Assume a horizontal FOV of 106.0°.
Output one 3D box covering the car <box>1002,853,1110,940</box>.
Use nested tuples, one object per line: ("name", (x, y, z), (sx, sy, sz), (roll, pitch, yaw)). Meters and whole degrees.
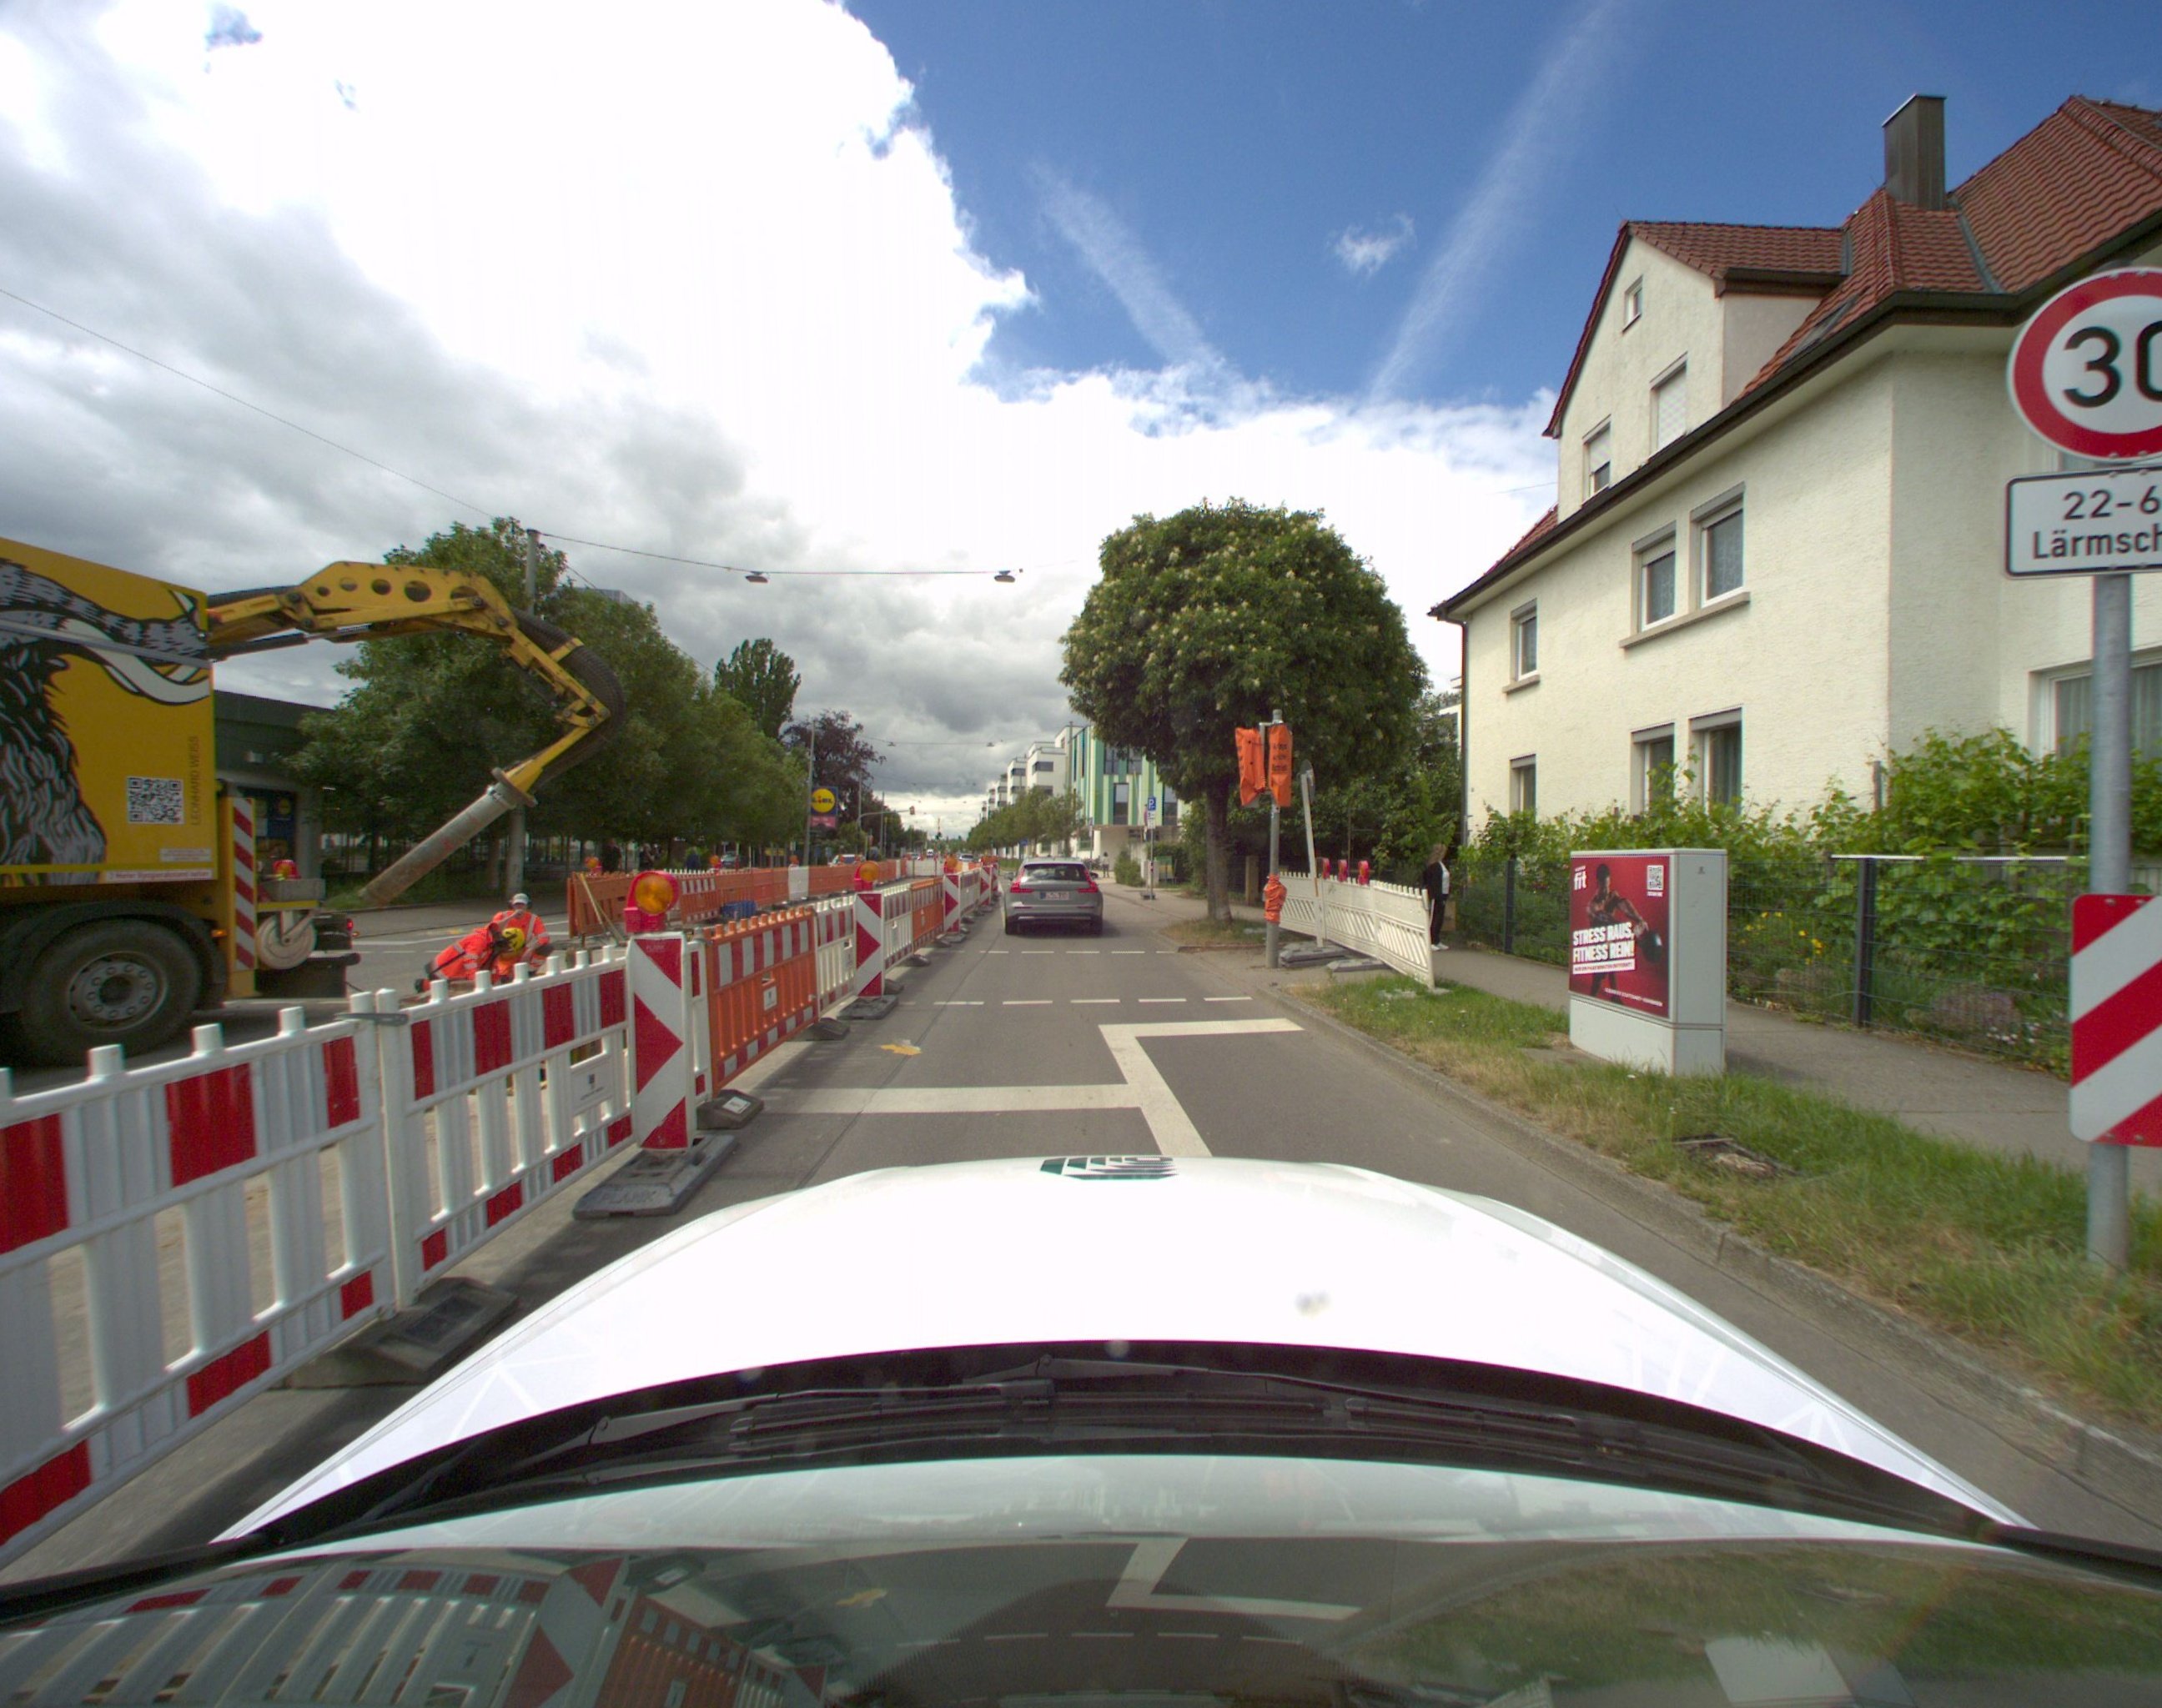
("car", (-0.638, 0.756, 16.576), (1.853, 1.513, 3.990), (0, 0, -7))

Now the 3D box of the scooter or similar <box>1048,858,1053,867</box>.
("scooter or similar", (-3.053, 0.865, 82.412), (0.421, 0.905, 0.679), (0, 0, -10))

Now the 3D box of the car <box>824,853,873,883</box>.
("car", (-12.089, 0.703, 42.525), (1.853, 1.453, 3.989), (1, 0, -8))

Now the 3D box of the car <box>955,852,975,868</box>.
("car", (-11.921, 0.596, 83.656), (1.845, 1.513, 3.986), (2, 0, -11))

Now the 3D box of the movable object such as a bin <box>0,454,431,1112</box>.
("movable object such as a bin", (-8.415, -0.437, 2.894), (2.579, 4.221, 11.135), (0, 0, 5))

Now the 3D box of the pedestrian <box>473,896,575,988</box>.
("pedestrian", (-6.639, 1.019, 9.725), (0.634, 0.991, 0.798), (0, 0, 28))

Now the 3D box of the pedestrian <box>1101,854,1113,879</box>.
("pedestrian", (1.586, 0.779, 50.299), (0.581, 1.551, 0.866), (0, 0, -10))

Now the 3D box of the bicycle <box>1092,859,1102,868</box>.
("bicycle", (1.414, 0.840, 71.922), (1.031, 0.842, 0.303), (0, 0, -43))

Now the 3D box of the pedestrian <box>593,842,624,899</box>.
("pedestrian", (-15.521, 0.517, 26.752), (0.620, 1.847, 0.625), (0, 0, 18))

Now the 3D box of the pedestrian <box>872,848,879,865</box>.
("pedestrian", (-21.778, 0.258, 86.360), (0.681, 1.854, 0.889), (0, -1, -10))

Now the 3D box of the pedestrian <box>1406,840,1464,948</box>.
("pedestrian", (5.217, 0.568, 11.997), (0.525, 1.540, 0.628), (0, 0, -44))

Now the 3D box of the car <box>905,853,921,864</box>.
("car", (-24.211, 0.591, 117.428), (1.852, 1.513, 3.992), (0, 0, -6))

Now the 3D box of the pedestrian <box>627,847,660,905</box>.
("pedestrian", (-14.245, 0.694, 26.505), (0.689, 1.847, 0.625), (0, 0, 18))

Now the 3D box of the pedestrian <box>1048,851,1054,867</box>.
("pedestrian", (-3.034, 0.502, 82.814), (0.605, 1.655, 0.550), (0, 0, -11))

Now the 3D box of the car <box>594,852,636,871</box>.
("car", (-39.153, 0.586, 68.514), (1.996, 1.552, 3.981), (0, 0, -14))

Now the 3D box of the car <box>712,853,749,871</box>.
("car", (-30.051, 0.647, 69.947), (1.994, 1.453, 3.986), (0, 0, -10))

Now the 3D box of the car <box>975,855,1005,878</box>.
("car", (-6.576, 0.895, 58.673), (1.855, 1.513, 3.986), (2, 0, -11))

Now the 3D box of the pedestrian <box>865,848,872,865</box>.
("pedestrian", (-22.508, 0.247, 86.212), (0.681, 1.854, 0.704), (0, -1, -10))

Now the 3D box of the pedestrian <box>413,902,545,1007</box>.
("pedestrian", (-6.398, 1.043, 8.688), (0.784, 0.991, 0.816), (0, 0, 18))

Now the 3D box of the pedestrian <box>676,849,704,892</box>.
("pedestrian", (-14.784, 0.622, 30.820), (0.753, 1.603, 0.826), (0, 0, -13))
